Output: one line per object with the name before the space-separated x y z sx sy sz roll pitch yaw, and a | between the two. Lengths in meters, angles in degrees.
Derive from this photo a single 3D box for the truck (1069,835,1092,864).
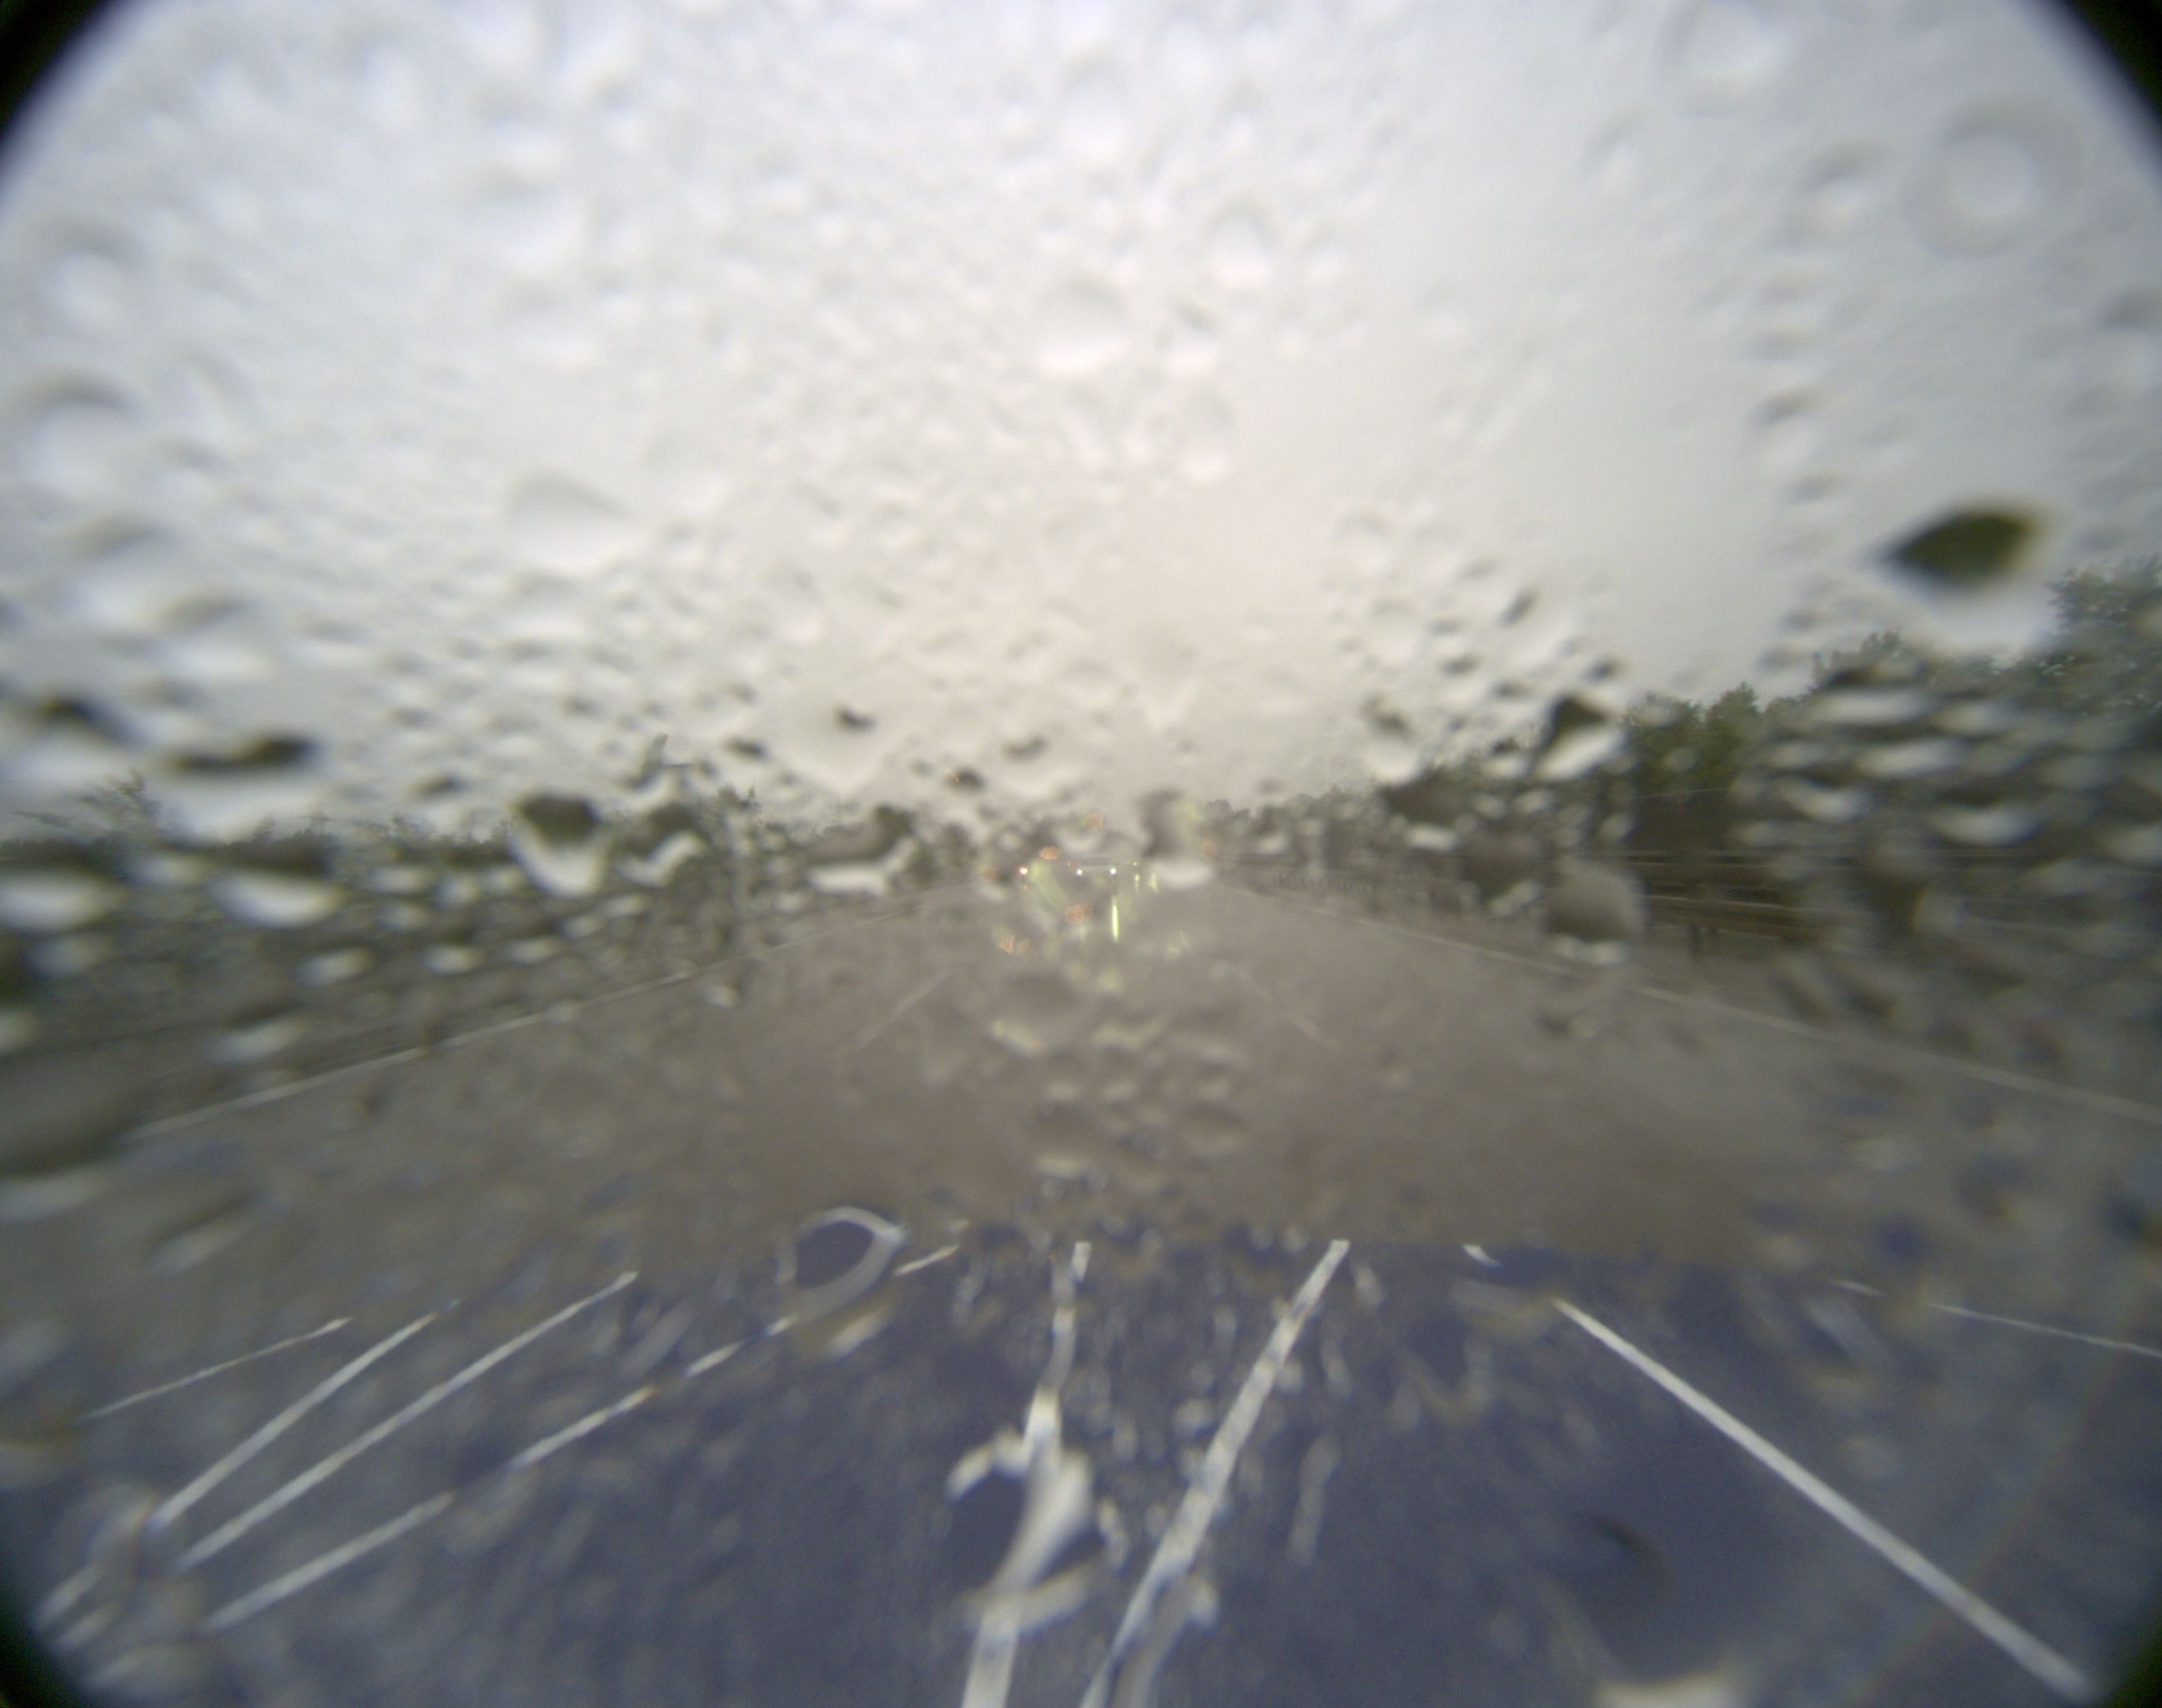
truck | -0.038 -0.708 111.669 2.754 4.054 6.484 -2 0 5

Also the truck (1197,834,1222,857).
truck | 27.407 -1.815 162.271 3.845 4.612 9.493 -2 0 2

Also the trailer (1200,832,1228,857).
trailer | 27.208 -1.845 156.051 3.878 4.668 12.244 -2 0 2

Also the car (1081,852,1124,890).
car | 1.019 0.706 34.071 1.751 1.545 4.091 -2 0 3

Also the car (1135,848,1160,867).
car | 5.862 0.266 67.306 1.899 1.533 4.090 -2 0 3

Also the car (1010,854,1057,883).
car | -3.103 0.927 51.182 2.463 1.736 5.720 -2 0 3
